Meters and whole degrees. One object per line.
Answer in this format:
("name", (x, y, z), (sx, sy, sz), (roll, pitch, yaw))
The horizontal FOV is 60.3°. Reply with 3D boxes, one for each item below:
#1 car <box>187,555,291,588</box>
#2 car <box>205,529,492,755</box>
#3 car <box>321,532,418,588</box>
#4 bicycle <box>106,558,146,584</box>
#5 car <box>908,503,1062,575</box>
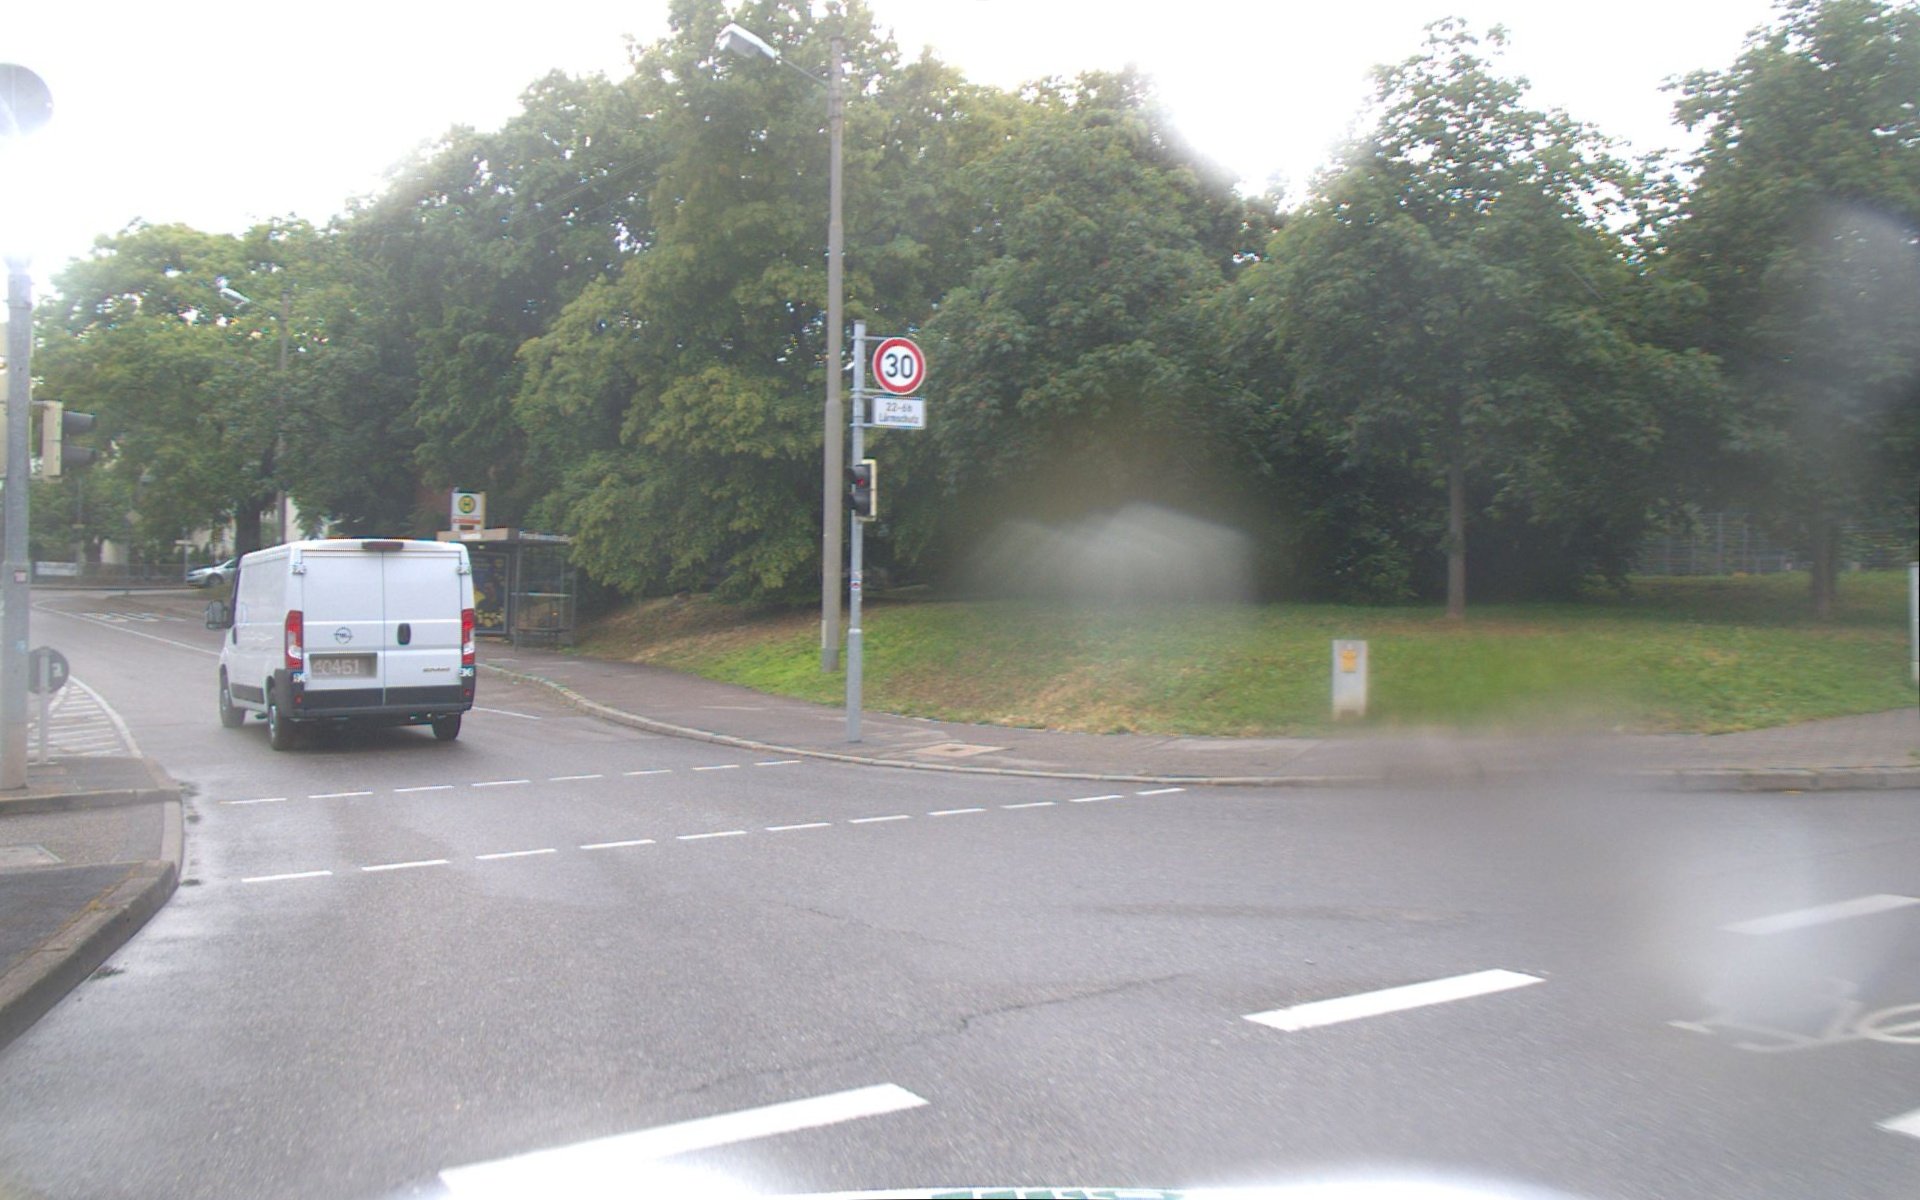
("car", (-32.103, -1.272, 73.698), (3.964, 1.447, 1.679), (-1, 1, -41))
("car", (-7.389, 0.397, 19.650), (2.127, 2.323, 5.004), (-1, 1, -33))
("car", (-21.211, -1.458, 59.255), (1.977, 1.836, 5.085), (3, 1, -35))
("bicycle", (-37.449, -1.290, 74.283), (1.557, 1.134, 0.452), (-1, 3, -34))
("car", (0.755, -1.856, 50.000), (4.247, 1.809, 1.794), (-5, 3, -17))
